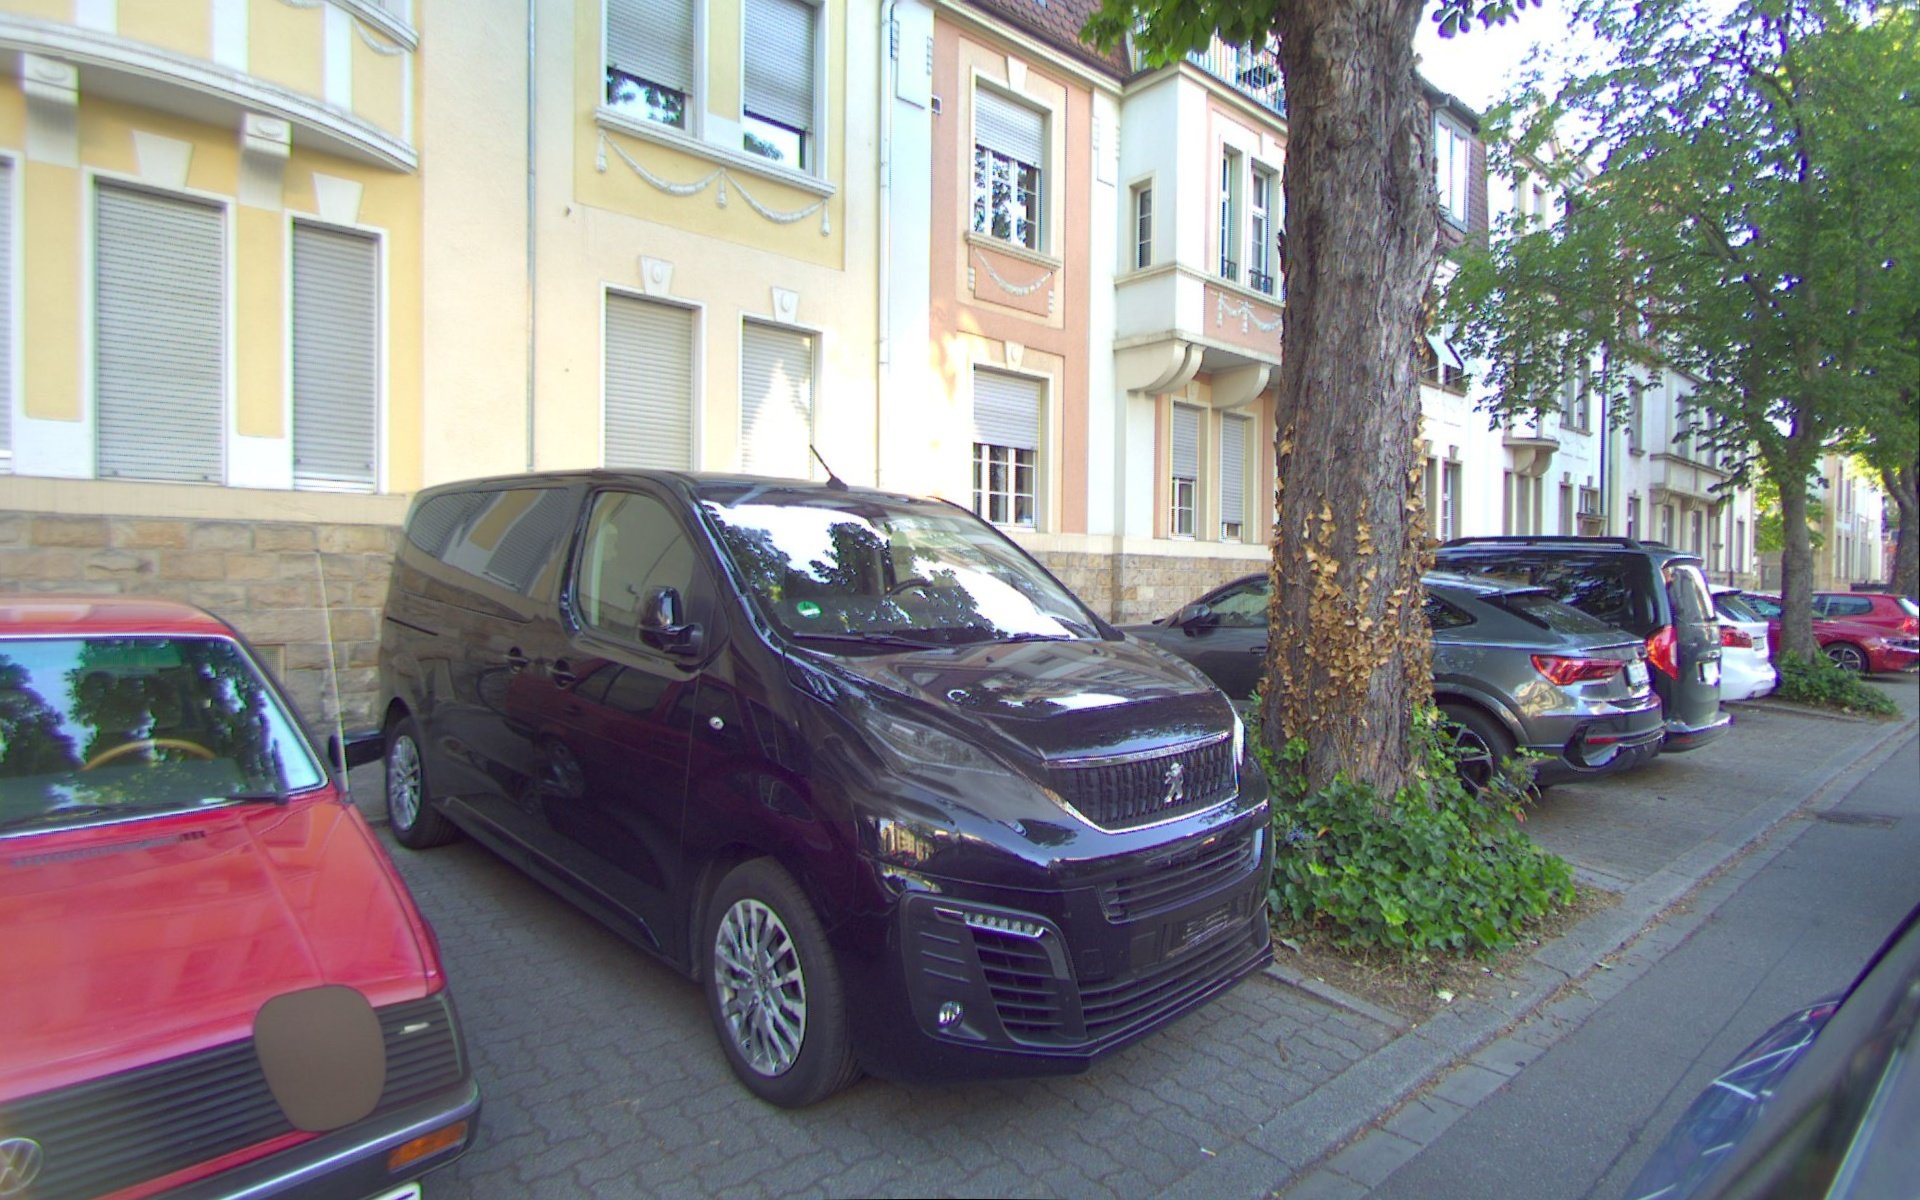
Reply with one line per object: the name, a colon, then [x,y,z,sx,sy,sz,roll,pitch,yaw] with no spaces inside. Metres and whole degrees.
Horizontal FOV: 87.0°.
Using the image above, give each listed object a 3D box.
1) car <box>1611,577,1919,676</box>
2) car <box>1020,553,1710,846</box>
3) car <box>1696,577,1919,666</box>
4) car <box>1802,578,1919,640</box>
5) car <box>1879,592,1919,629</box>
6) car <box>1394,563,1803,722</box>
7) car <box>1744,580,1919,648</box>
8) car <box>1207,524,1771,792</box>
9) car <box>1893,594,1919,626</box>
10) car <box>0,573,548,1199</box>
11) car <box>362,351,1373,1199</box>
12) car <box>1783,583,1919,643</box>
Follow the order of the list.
car: [14.787,0.386,18.456,1.833,1.470,4.533,0,3,-38]
car: [2.745,0.451,7.696,1.815,1.542,4.513,-1,3,-44]
car: [16.896,0.357,19.812,1.628,1.499,3.682,0,3,-38]
car: [25.872,0.237,28.025,1.548,1.576,3.681,0,3,-39]
car: [31.897,0.386,32.460,1.515,1.164,3.399,0,3,-39]
car: [7.704,0.379,12.519,1.689,1.597,3.948,0,3,-41]
car: [21.854,0.302,24.967,1.548,1.484,3.681,0,3,-39]
car: [4.519,0.310,9.139,1.814,1.860,4.116,0,3,-42]
car: [34.278,0.385,34.523,1.515,1.076,3.400,0,3,-39]
car: [-2.874,0.629,3.029,1.603,1.332,4.140,-1,3,-44]
car: [-0.938,0.326,4.469,1.867,1.897,4.753,-1,3,-44]
car: [24.006,0.324,26.405,1.548,1.416,3.681,0,3,-39]
